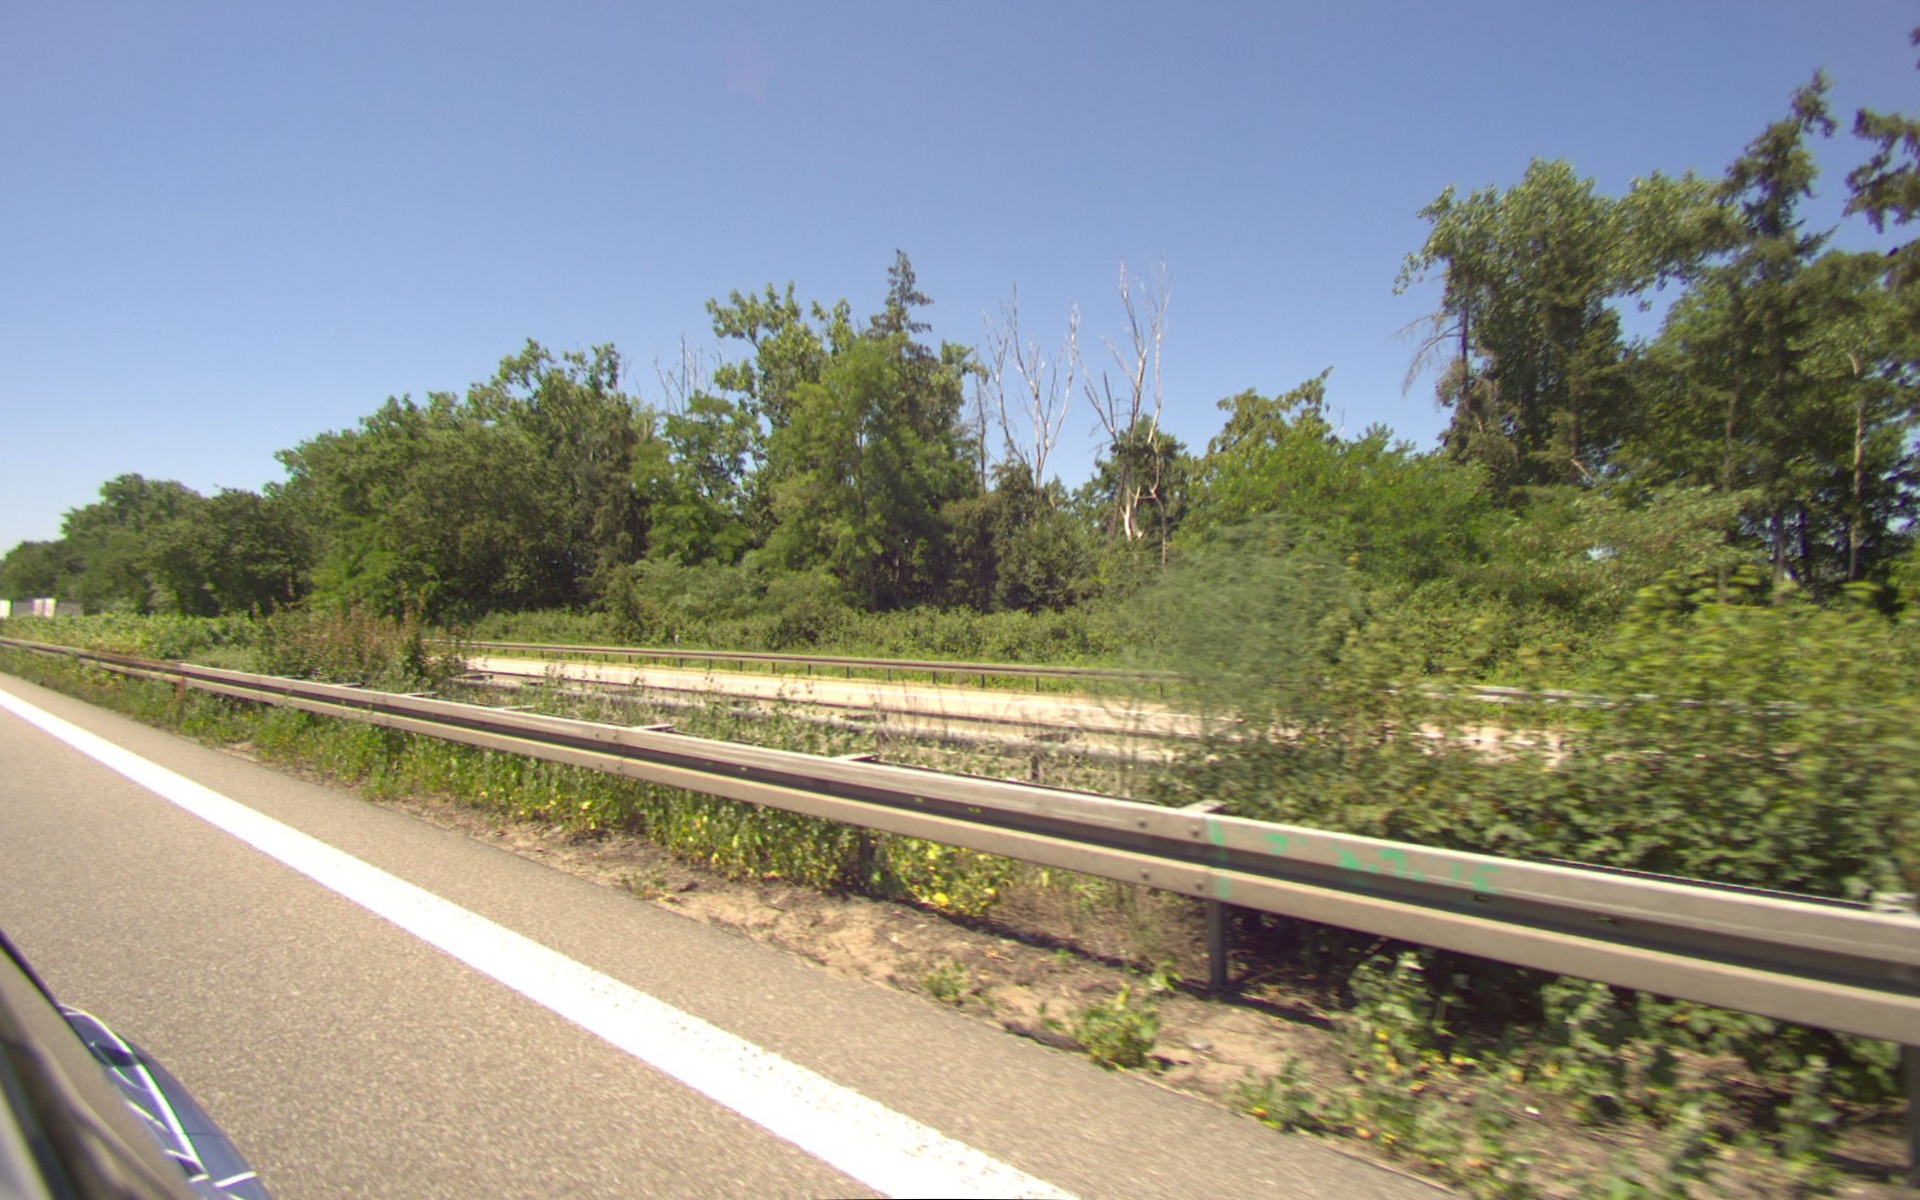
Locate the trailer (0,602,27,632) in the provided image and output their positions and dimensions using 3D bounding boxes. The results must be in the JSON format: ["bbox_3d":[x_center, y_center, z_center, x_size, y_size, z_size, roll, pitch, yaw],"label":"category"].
[{"bbox_3d":[-139.594,2.476,148.289,14.239,4.121,2.510,-1,-3,41],"label":"trailer"}]

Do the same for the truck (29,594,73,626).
[{"bbox_3d":[-110.601,1.254,123.032,9.271,3.857,2.895,-1,-2,42],"label":"truck"}]

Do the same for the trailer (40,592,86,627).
[{"bbox_3d":[-103.669,1.157,116.909,9.271,3.857,2.895,-1,-2,42],"label":"trailer"}]
